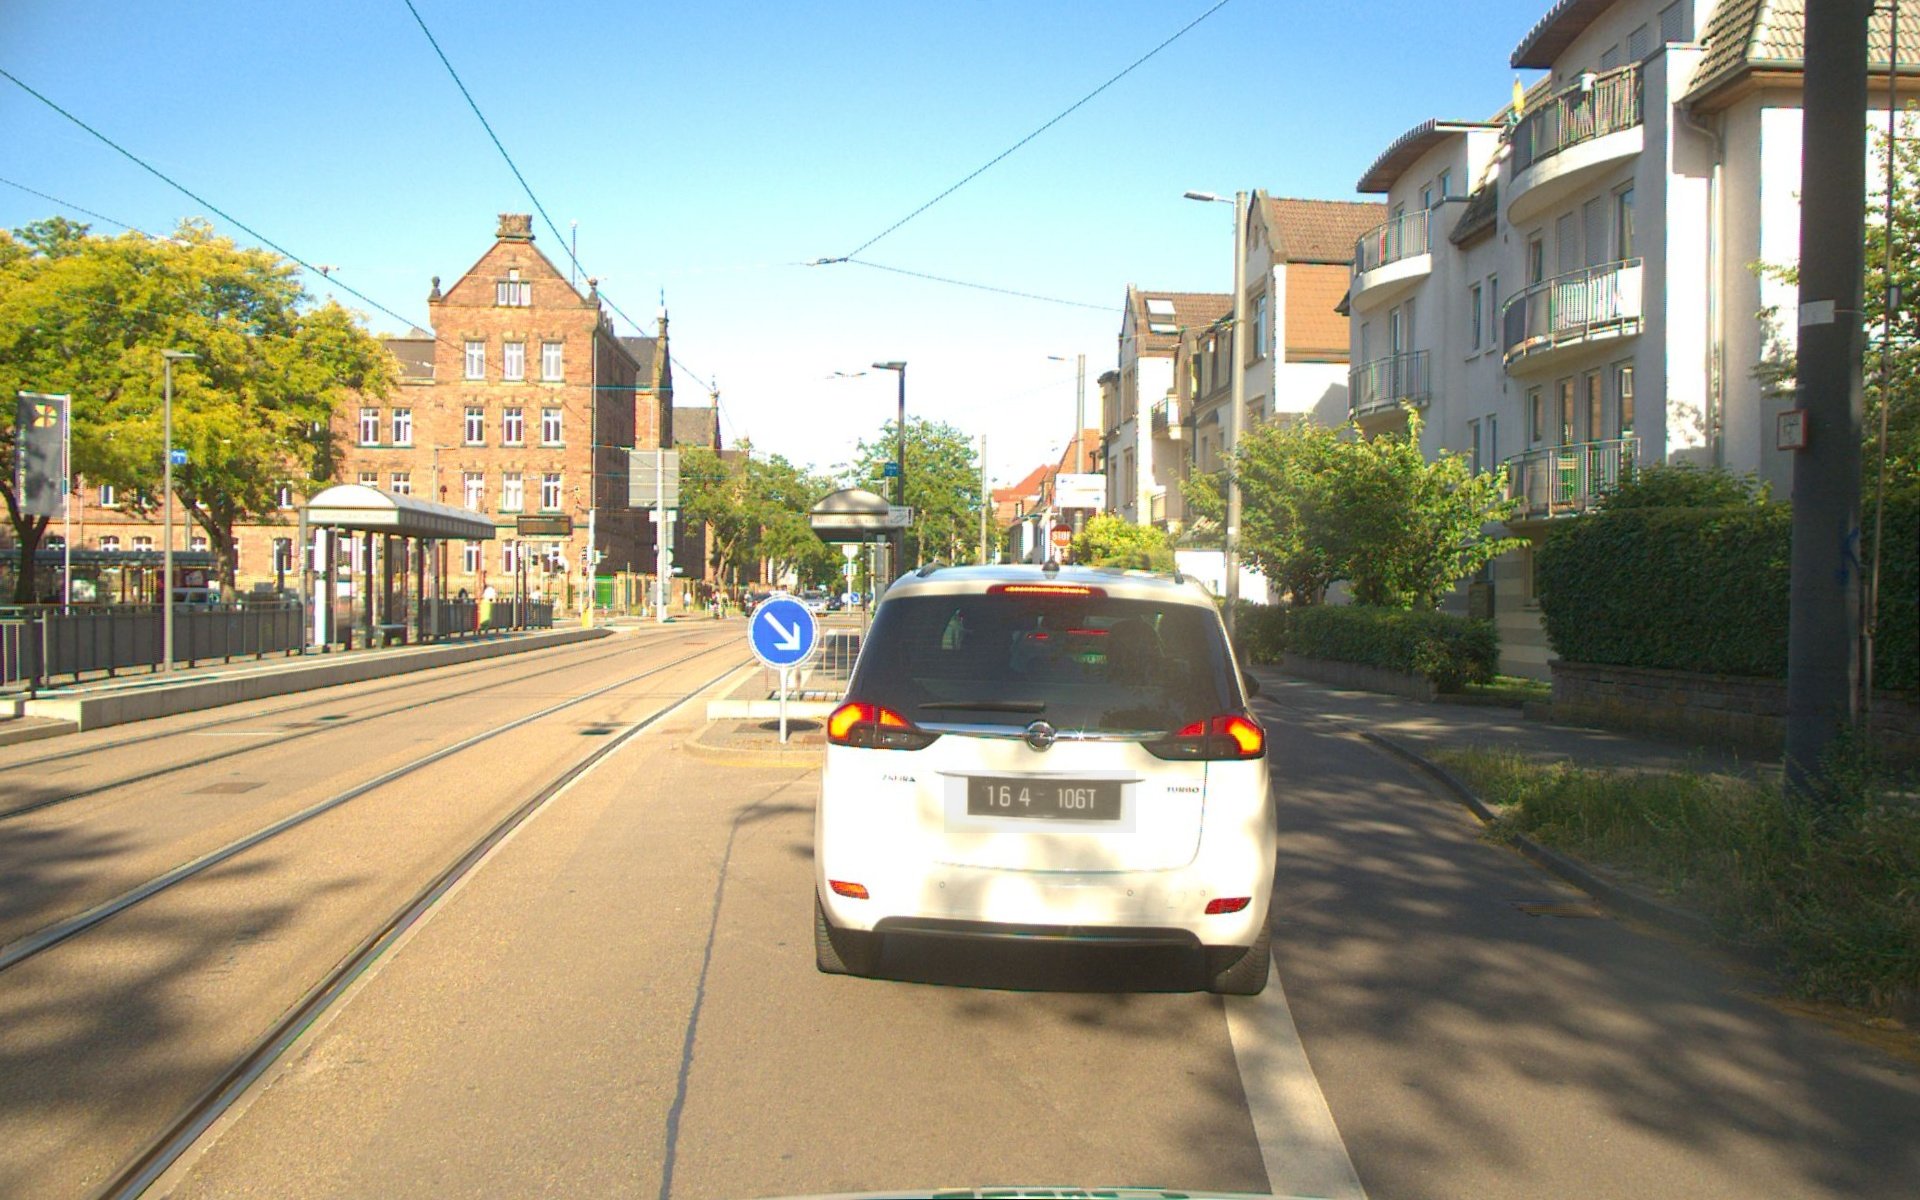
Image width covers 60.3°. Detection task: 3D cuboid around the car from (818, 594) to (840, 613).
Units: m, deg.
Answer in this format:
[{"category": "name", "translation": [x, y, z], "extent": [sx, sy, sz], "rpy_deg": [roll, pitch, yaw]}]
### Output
[{"category": "car", "translation": [-11.895, 0.311, 150.321], "extent": [1.955, 1.657, 3.984], "rpy_deg": [0, 0, -5]}]

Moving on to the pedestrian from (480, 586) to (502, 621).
[{"category": "pedestrian", "translation": [-22.403, 0.170, 79.025], "extent": [0.786, 1.616, 0.934], "rpy_deg": [1, 0, -3]}]

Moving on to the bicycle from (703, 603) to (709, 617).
[{"category": "bicycle", "translation": [-17.657, 0.669, 114.851], "extent": [0.337, 0.966, 0.996], "rpy_deg": [1, 0, -4]}]

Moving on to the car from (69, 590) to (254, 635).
[{"category": "car", "translation": [-35.728, 0.538, 74.183], "extent": [6.810, 1.954, 2.991], "rpy_deg": [0, 0, -2]}]

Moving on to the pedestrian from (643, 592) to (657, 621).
[{"category": "pedestrian", "translation": [-18.982, 0.393, 101.333], "extent": [0.720, 1.744, 0.705], "rpy_deg": [1, -1, -6]}]

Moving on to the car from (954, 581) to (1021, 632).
[{"category": "car", "translation": [0.827, 0.196, 51.761], "extent": [1.953, 1.529, 3.999], "rpy_deg": [0, 0, -1]}]

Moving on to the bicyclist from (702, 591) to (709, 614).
[{"category": "bicyclist", "translation": [-17.651, 0.193, 114.815], "extent": [0.435, 1.580, 0.495], "rpy_deg": [0, 0, -4]}]

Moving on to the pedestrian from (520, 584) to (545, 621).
[{"category": "pedestrian", "translation": [-20.099, 0.103, 77.803], "extent": [0.877, 1.713, 1.029], "rpy_deg": [1, 0, -1]}]

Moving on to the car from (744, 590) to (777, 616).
[{"category": "car", "translation": [-12.859, 0.205, 106.879], "extent": [1.955, 1.657, 3.996], "rpy_deg": [0, 0, -5]}]

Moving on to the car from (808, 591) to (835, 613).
[{"category": "car", "translation": [-10.957, 0.151, 130.787], "extent": [1.953, 1.657, 3.998], "rpy_deg": [0, 0, -3]}]

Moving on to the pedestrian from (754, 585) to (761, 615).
[{"category": "pedestrian", "translation": [-13.649, 0.015, 111.741], "extent": [0.435, 2.049, 0.495], "rpy_deg": [0, 0, -4]}]

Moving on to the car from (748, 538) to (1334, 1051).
[{"category": "car", "translation": [0.455, 0.650, 7.590], "extent": [1.951, 1.673, 3.996], "rpy_deg": [1, 0, 6]}]

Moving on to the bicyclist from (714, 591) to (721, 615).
[{"category": "bicyclist", "translation": [-15.577, 0.194, 106.316], "extent": [0.435, 1.580, 0.495], "rpy_deg": [0, 0, -4]}]

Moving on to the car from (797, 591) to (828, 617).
[{"category": "car", "translation": [-9.549, 0.254, 107.152], "extent": [1.955, 1.657, 3.996], "rpy_deg": [0, 0, -5]}]

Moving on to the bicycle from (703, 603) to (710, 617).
[{"category": "bicycle", "translation": [-17.319, 0.667, 113.026], "extent": [0.337, 0.966, 0.996], "rpy_deg": [1, 0, -4]}]

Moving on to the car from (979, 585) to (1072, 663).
[{"category": "car", "translation": [1.378, 0.496, 36.184], "extent": [1.793, 1.607, 4.009], "rpy_deg": [0, 0, -1]}]

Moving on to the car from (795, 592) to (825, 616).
[{"category": "car", "translation": [-10.353, 0.270, 114.246], "extent": [1.955, 1.657, 3.996], "rpy_deg": [0, 0, -5]}]

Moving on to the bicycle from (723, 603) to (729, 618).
[{"category": "bicycle", "translation": [-15.396, 0.683, 108.910], "extent": [0.337, 0.966, 0.996], "rpy_deg": [1, 0, -4]}]

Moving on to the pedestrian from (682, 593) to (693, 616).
[{"category": "pedestrian", "translation": [-21.109, 0.329, 128.100], "extent": [0.720, 1.744, 0.753], "rpy_deg": [1, -1, -6]}]

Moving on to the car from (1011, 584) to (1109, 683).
[{"category": "car", "translation": [1.712, 0.554, 29.264], "extent": [1.603, 1.629, 3.855], "rpy_deg": [0, 0, 1]}]

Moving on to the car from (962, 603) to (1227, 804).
[{"category": "car", "translation": [1.029, 0.750, 13.977], "extent": [1.912, 1.422, 4.001], "rpy_deg": [0, 0, 1]}]

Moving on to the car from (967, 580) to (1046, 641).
[{"category": "car", "translation": [1.198, 0.262, 44.305], "extent": [1.953, 1.529, 3.999], "rpy_deg": [0, 0, -1]}]

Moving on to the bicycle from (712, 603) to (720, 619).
[{"category": "bicycle", "translation": [-15.165, 0.661, 102.832], "extent": [0.337, 0.966, 1.159], "rpy_deg": [1, 0, -4]}]

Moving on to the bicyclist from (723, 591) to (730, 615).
[{"category": "bicyclist", "translation": [-15.386, 0.208, 108.903], "extent": [0.435, 1.580, 0.495], "rpy_deg": [0, 0, -4]}]

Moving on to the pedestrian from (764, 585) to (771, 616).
[{"category": "pedestrian", "translation": [-13.062, 0.027, 112.041], "extent": [0.435, 2.049, 0.495], "rpy_deg": [0, 0, -4]}]

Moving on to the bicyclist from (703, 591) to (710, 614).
[{"category": "bicyclist", "translation": [-17.335, 0.191, 112.985], "extent": [0.435, 1.580, 0.495], "rpy_deg": [0, 0, -4]}]

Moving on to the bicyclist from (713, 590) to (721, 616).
[{"category": "bicyclist", "translation": [-15.156, 0.186, 103.040], "extent": [0.435, 1.580, 0.742], "rpy_deg": [0, 0, -4]}]

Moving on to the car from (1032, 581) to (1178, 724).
[{"category": "car", "translation": [1.739, 0.588, 20.836], "extent": [1.603, 1.629, 3.855], "rpy_deg": [0, 0, 1]}]

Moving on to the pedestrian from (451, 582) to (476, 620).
[{"category": "pedestrian", "translation": [-22.753, 0.056, 75.774], "extent": [0.825, 1.721, 1.029], "rpy_deg": [1, 0, -1]}]
